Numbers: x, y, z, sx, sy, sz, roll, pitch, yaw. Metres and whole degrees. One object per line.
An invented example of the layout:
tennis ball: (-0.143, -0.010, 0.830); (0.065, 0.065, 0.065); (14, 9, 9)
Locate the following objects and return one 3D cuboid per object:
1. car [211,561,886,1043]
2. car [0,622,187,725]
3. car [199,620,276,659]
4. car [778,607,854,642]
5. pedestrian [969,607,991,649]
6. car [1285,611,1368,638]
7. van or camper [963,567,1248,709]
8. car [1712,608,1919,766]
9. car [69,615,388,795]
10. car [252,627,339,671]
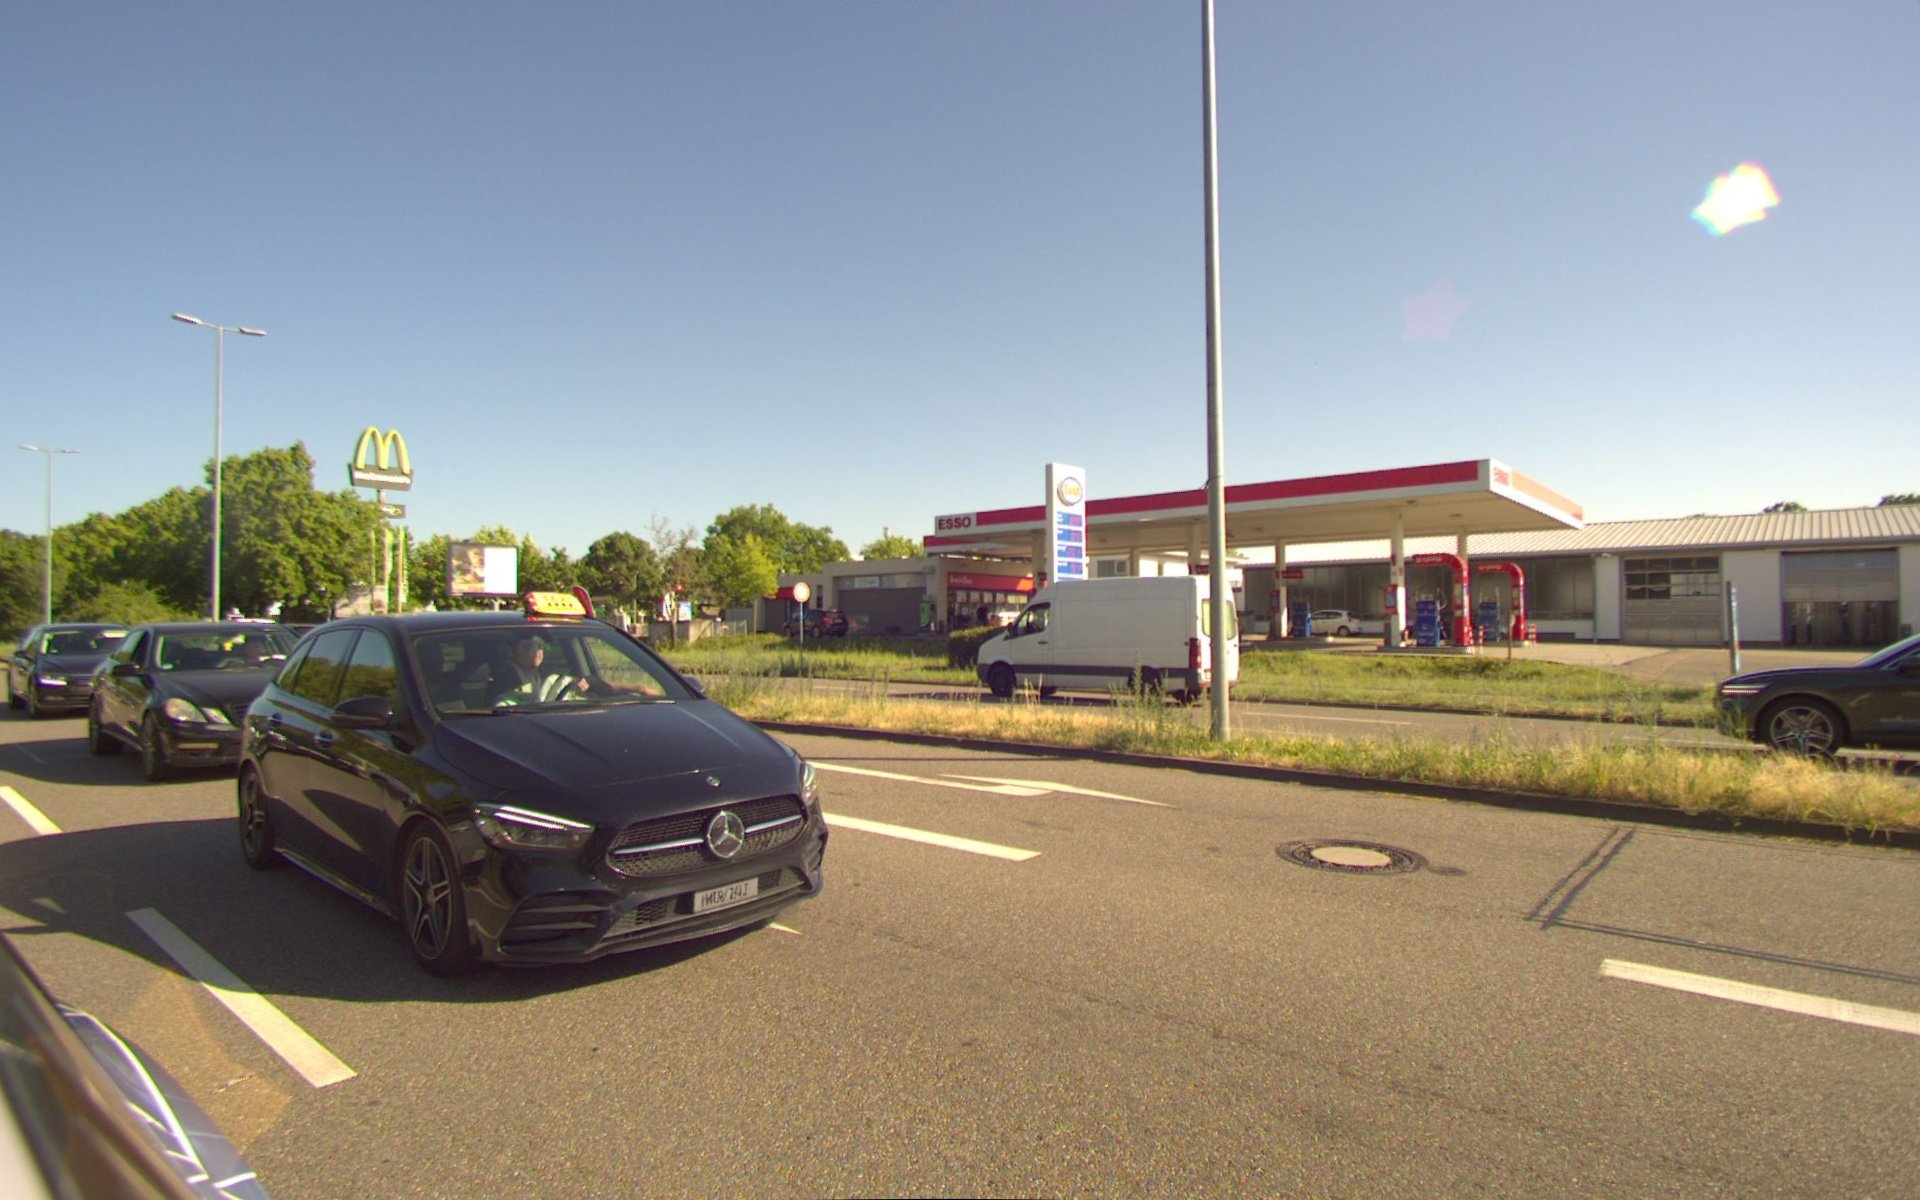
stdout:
car: (-2.495, 0.741, 5.532); (4.187, 1.638, 1.780); (-2, -2, 42)
car: (-14.620, 1.136, 16.948); (4.401, 1.492, 1.838); (-2, -2, 41)
car: (-39.740, 2.168, 55.634); (5.018, 2.029, 1.975); (-1, -3, 37)
car: (-7.859, 1.330, 55.069); (4.117, 1.783, 1.972); (-2, -1, 43)
pedestrian: (0.992, 1.385, 49.671); (0.840, 2.029, 0.694); (-2, -2, 41)
car: (19.845, 1.337, 54.876); (3.844, 1.450, 1.730); (-2, -2, 39)
van or camper: (2.977, 0.817, 21.772); (5.952, 2.671, 1.973); (-1, -4, 40)
car: (11.194, 0.960, 11.115); (4.609, 1.666, 1.973); (-2, -4, 40)
car: (-7.948, 0.957, 10.835); (4.401, 1.535, 1.838); (-2, -2, 41)
car: (-27.444, 1.996, 41.750); (4.433, 1.703, 1.860); (-2, -2, 41)
